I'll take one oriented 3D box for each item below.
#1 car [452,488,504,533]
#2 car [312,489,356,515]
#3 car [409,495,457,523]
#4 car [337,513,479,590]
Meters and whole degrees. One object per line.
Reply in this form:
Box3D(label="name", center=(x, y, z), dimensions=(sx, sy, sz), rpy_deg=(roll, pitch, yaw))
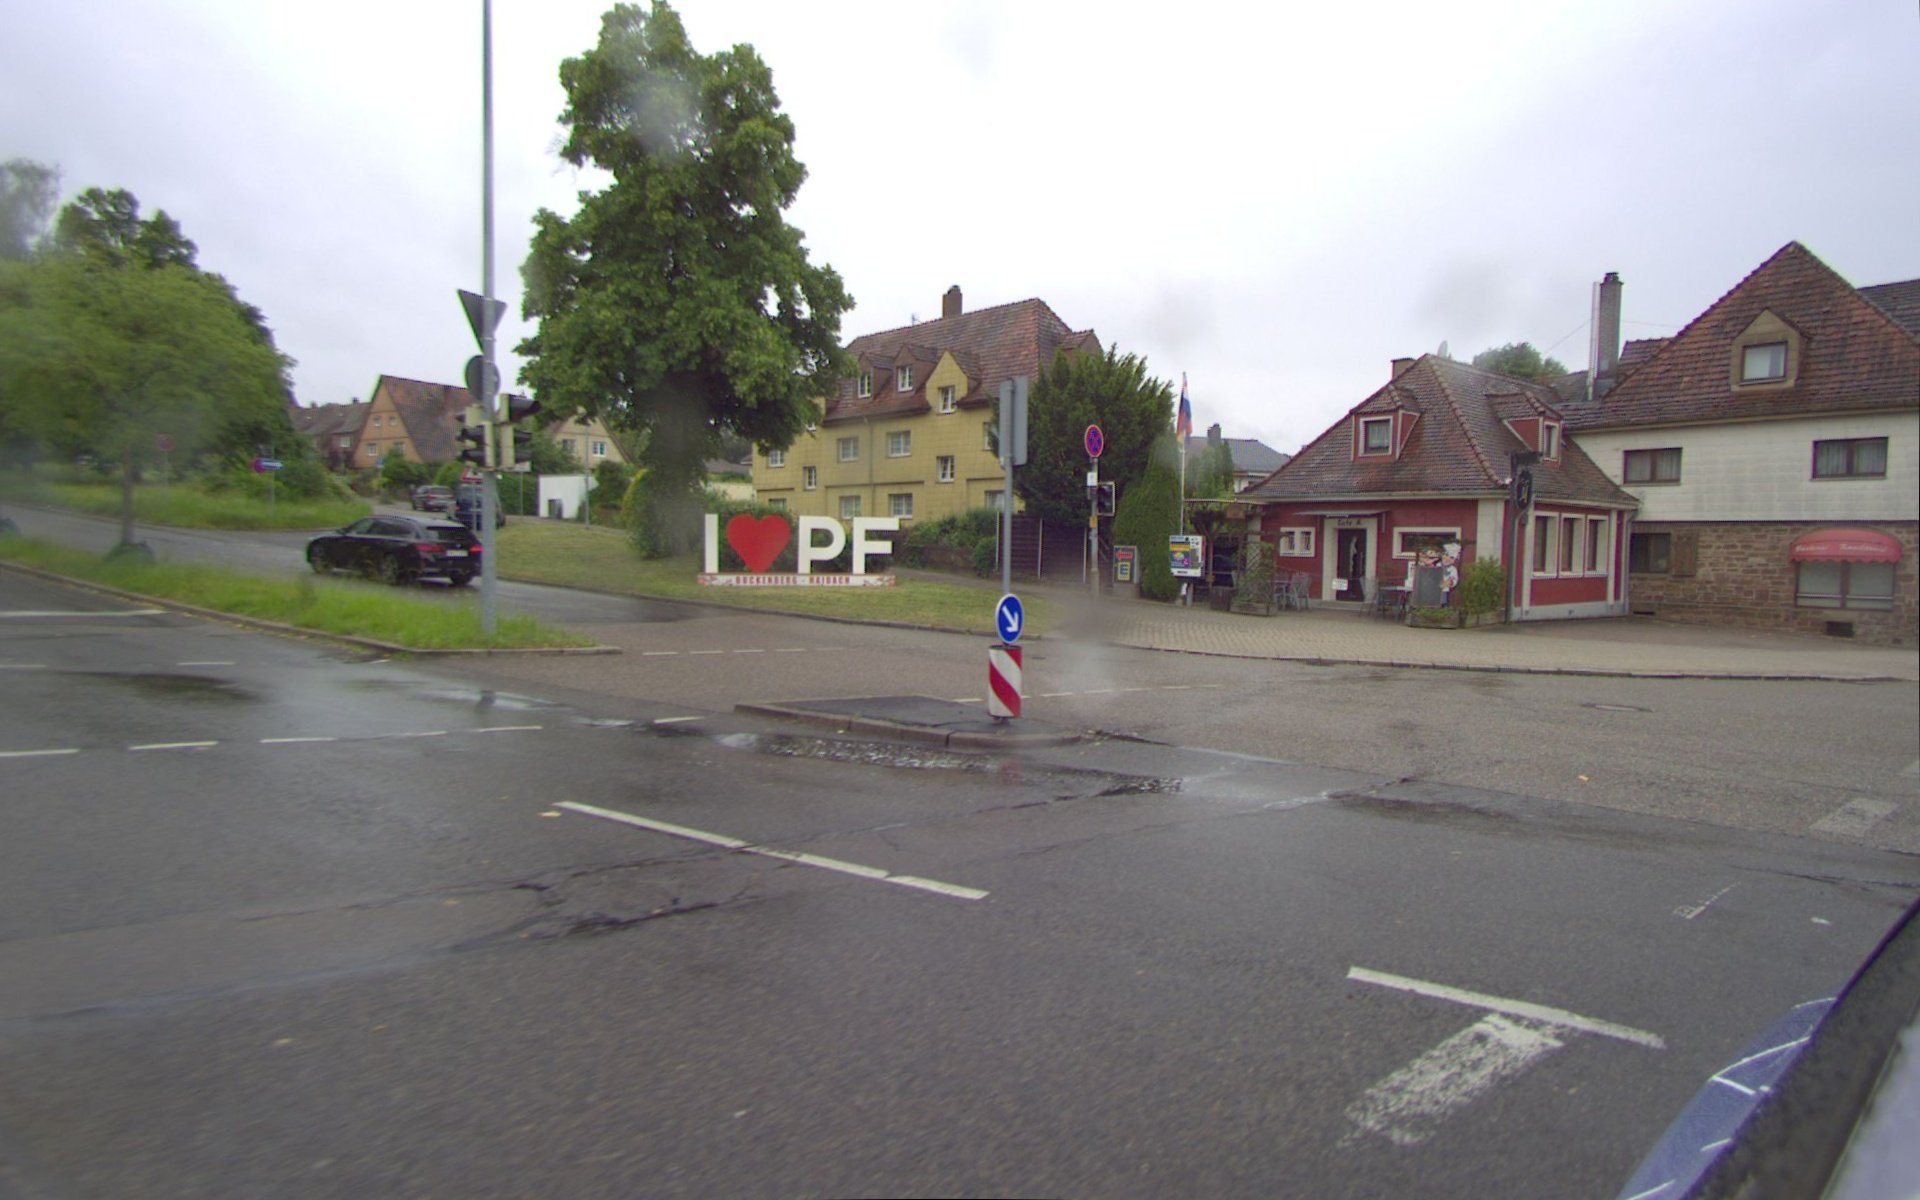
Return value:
Box3D(label="car", center=(-22.185, -4.070, 46.669), dimensions=(1.804, 1.864, 3.821), rpy_deg=(2, 3, -21))
Box3D(label="car", center=(-37.755, -5.899, 61.031), dimensions=(2.984, 1.333, 1.458), rpy_deg=(1, 1, 40))
Box3D(label="car", center=(-33.735, -5.839, 64.721), dimensions=(1.812, 1.618, 3.806), rpy_deg=(1, 3, -42))
Box3D(label="car", center=(-12.705, -1.133, 23.237), dimensions=(3.513, 1.553, 1.509), rpy_deg=(5, 3, 36))
